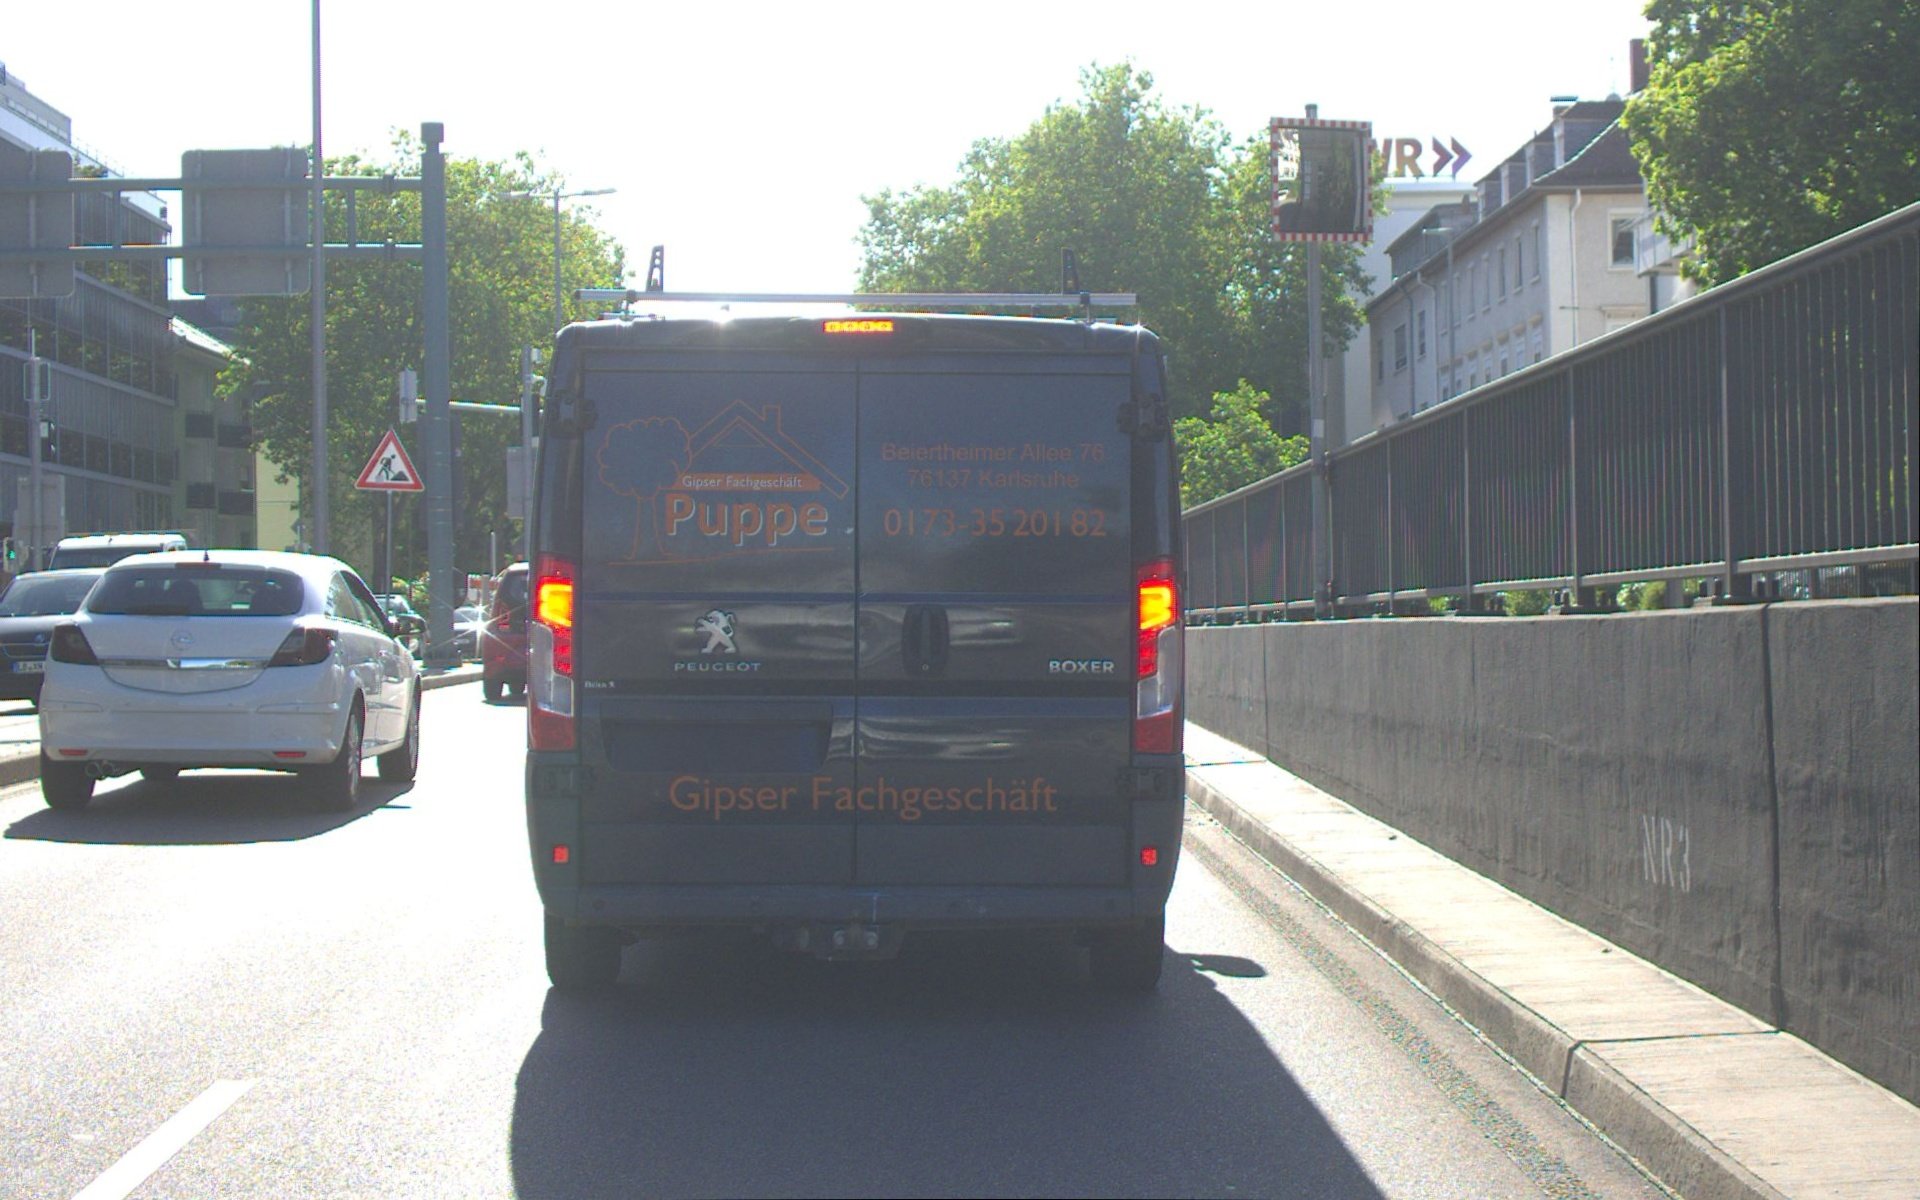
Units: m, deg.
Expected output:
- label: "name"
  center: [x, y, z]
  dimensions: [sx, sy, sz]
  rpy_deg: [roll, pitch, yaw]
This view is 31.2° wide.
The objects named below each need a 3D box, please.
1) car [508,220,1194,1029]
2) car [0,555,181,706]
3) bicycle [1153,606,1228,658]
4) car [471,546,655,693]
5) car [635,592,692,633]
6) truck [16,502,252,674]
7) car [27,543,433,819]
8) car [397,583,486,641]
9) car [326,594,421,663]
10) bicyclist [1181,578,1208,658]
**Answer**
- label: "car"
  center: [-0.365, 0.067, 12.188]
  dimensions: [2.030, 2.394, 3.973]
  rpy_deg: [0, 0, -1]
- label: "car"
  center: [-9.443, 0.303, 36.388]
  dimensions: [1.609, 1.452, 3.609]
  rpy_deg: [-4, 1, -2]
- label: "bicycle"
  center: [5.070, 0.704, 75.631]
  dimensions: [1.566, 1.114, 0.570]
  rpy_deg: [1, 0, -1]
- label: "car"
  center: [-4.263, 0.179, 37.274]
  dimensions: [1.689, 1.478, 3.319]
  rpy_deg: [1, 1, -2]
- label: "car"
  center: [-11.587, 0.470, 134.657]
  dimensions: [1.936, 1.549, 3.923]
  rpy_deg: [1, 0, -1]
- label: "truck"
  center: [-13.041, -0.175, 54.698]
  dimensions: [2.229, 2.519, 6.129]
  rpy_deg: [-2, 0, 0]
- label: "car"
  center: [-4.129, 0.396, 19.984]
  dimensions: [1.619, 1.398, 3.852]
  rpy_deg: [1, 1, -2]
- label: "car"
  center: [-14.435, 0.330, 95.848]
  dimensions: [1.936, 1.549, 3.923]
  rpy_deg: [1, 0, -1]
- label: "car"
  center: [-13.245, 0.622, 77.776]
  dimensions: [1.591, 1.440, 3.496]
  rpy_deg: [-3, 0, -2]
- label: "bicyclist"
  center: [5.152, 0.393, 75.631]
  dimensions: [0.509, 1.729, 0.597]
  rpy_deg: [1, 0, -1]
